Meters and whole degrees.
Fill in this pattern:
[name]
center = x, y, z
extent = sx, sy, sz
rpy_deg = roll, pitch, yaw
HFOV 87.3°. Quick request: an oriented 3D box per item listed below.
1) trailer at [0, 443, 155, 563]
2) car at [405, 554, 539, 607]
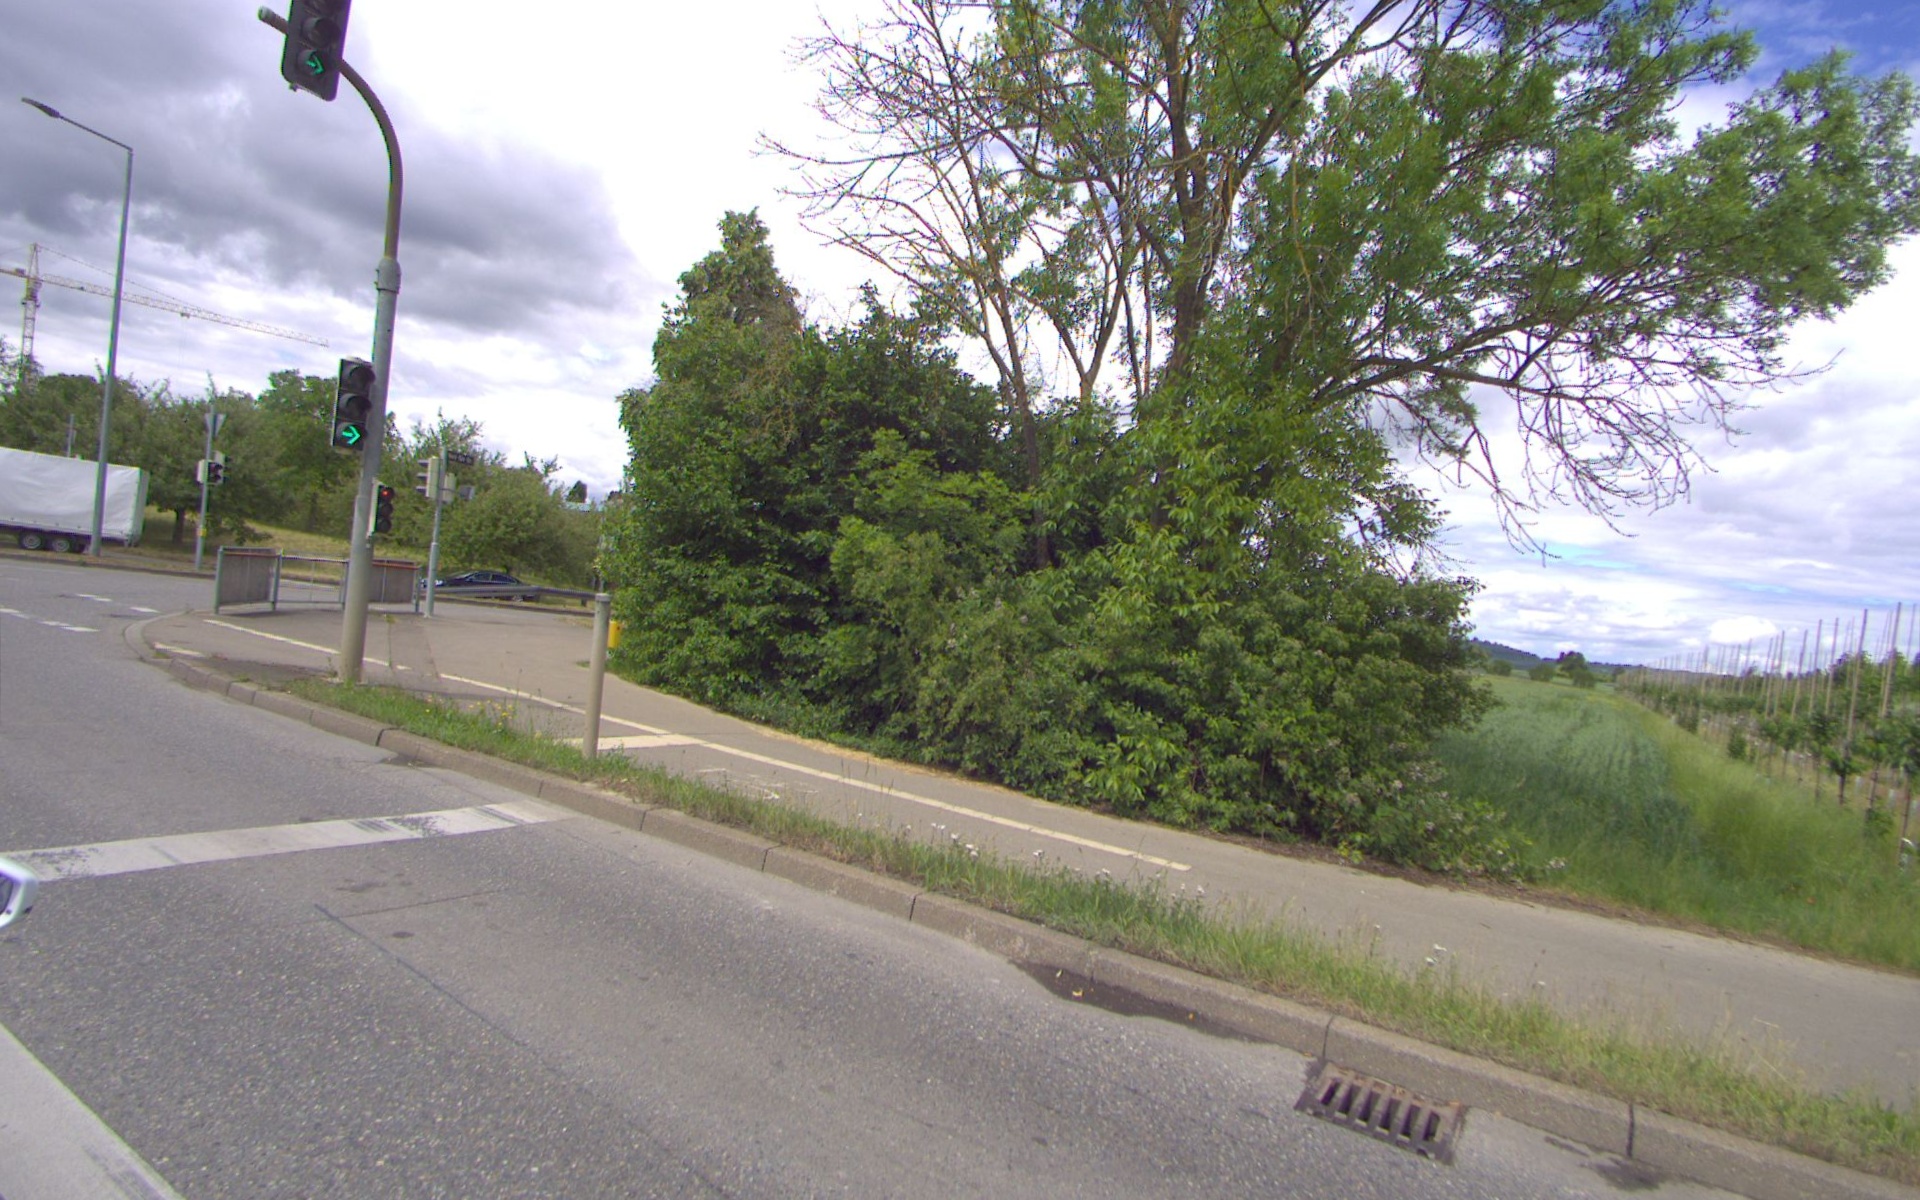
[trailer]
center = -29.120, -3.127, 31.587
extent = 5.539, 3.109, 2.476
rpy_deg = 9, -2, -35
[car]
center = -20.023, -0.765, 41.431
extent = 1.969, 1.584, 4.457
rpy_deg = 7, 0, 36
